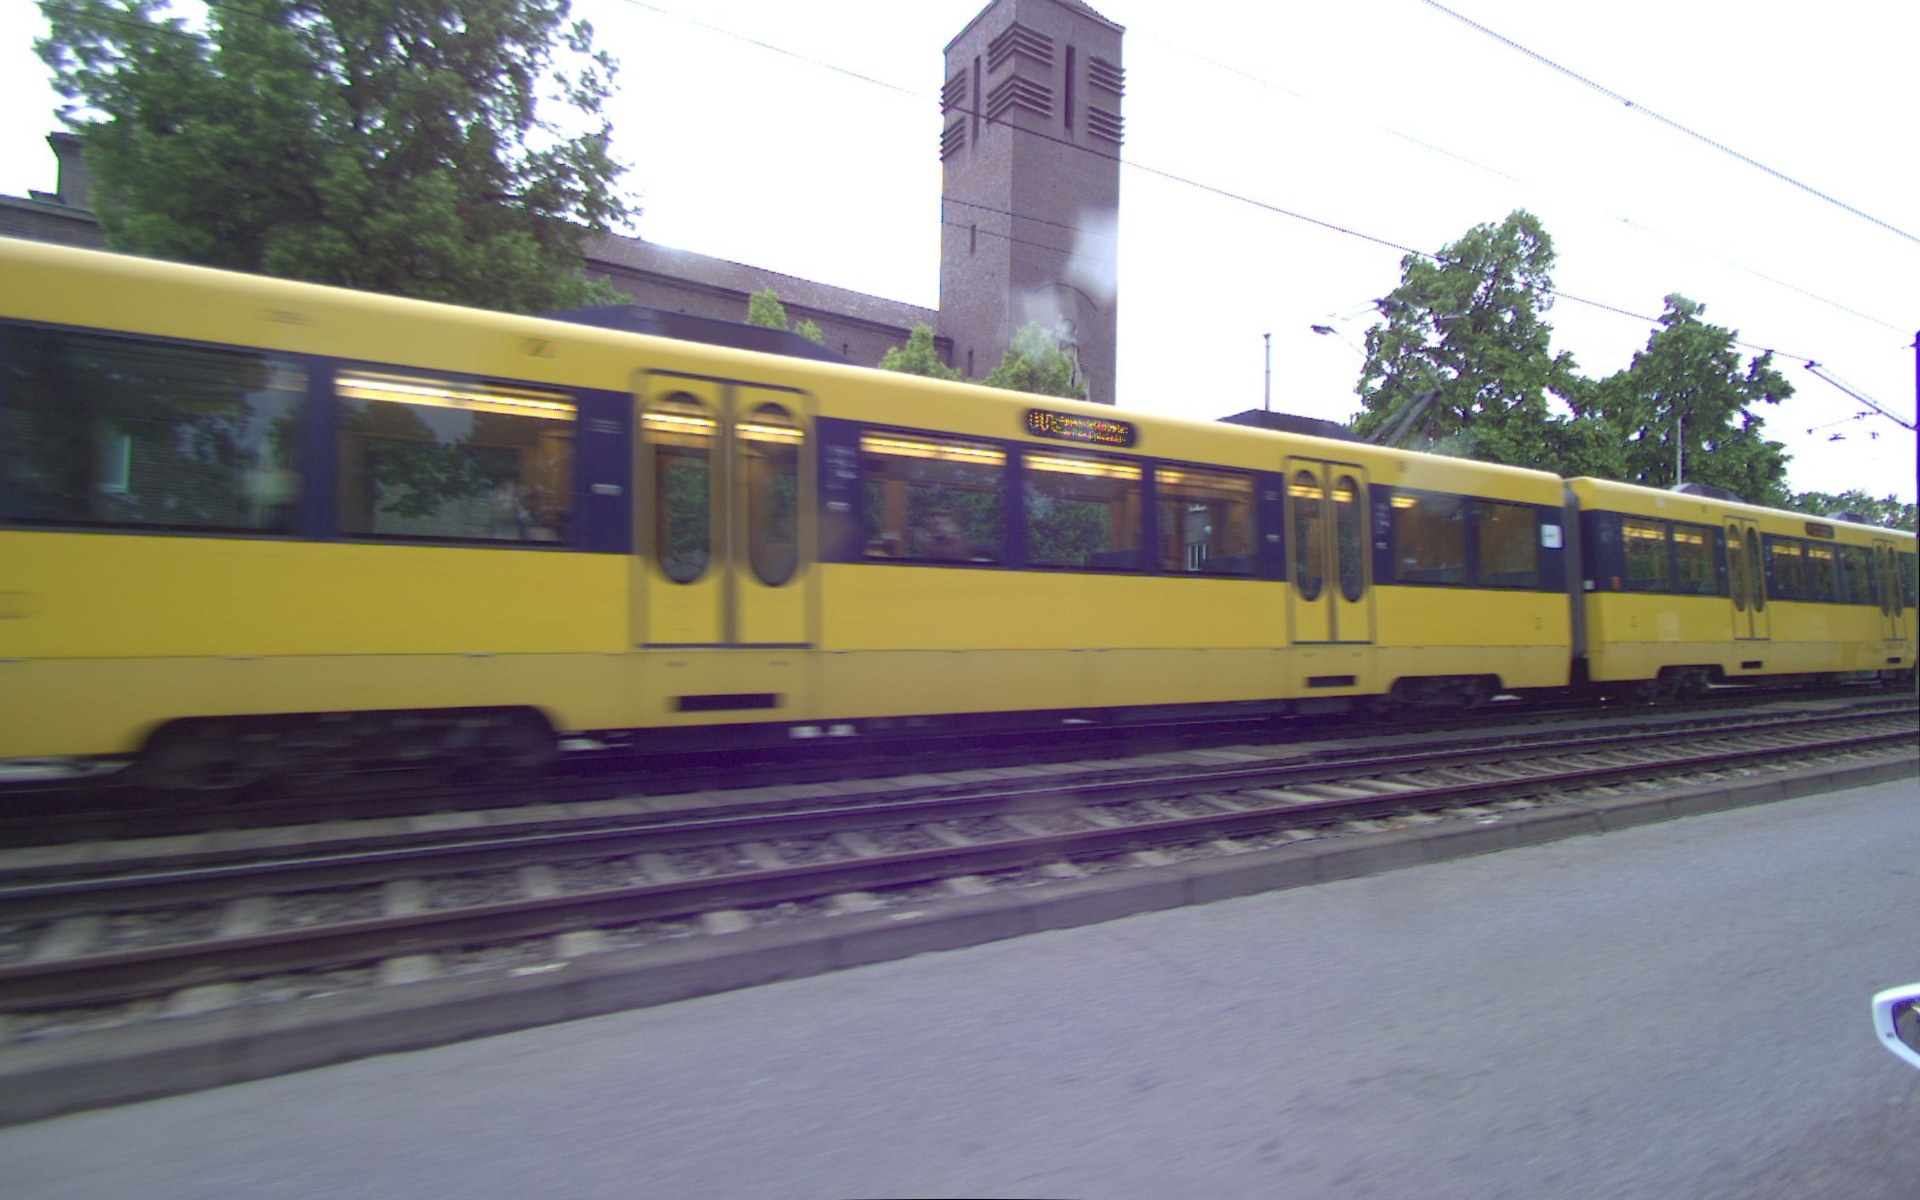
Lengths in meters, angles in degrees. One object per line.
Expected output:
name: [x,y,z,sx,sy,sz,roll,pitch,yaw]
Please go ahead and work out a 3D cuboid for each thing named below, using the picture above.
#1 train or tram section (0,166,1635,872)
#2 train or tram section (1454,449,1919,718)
train or tram section: [0.918,-0.326,11.202,19.796,4.028,2.814,1,-2,-31]
train or tram section: [16.759,-0.092,21.020,17.681,4.028,2.813,1,-2,-33]
